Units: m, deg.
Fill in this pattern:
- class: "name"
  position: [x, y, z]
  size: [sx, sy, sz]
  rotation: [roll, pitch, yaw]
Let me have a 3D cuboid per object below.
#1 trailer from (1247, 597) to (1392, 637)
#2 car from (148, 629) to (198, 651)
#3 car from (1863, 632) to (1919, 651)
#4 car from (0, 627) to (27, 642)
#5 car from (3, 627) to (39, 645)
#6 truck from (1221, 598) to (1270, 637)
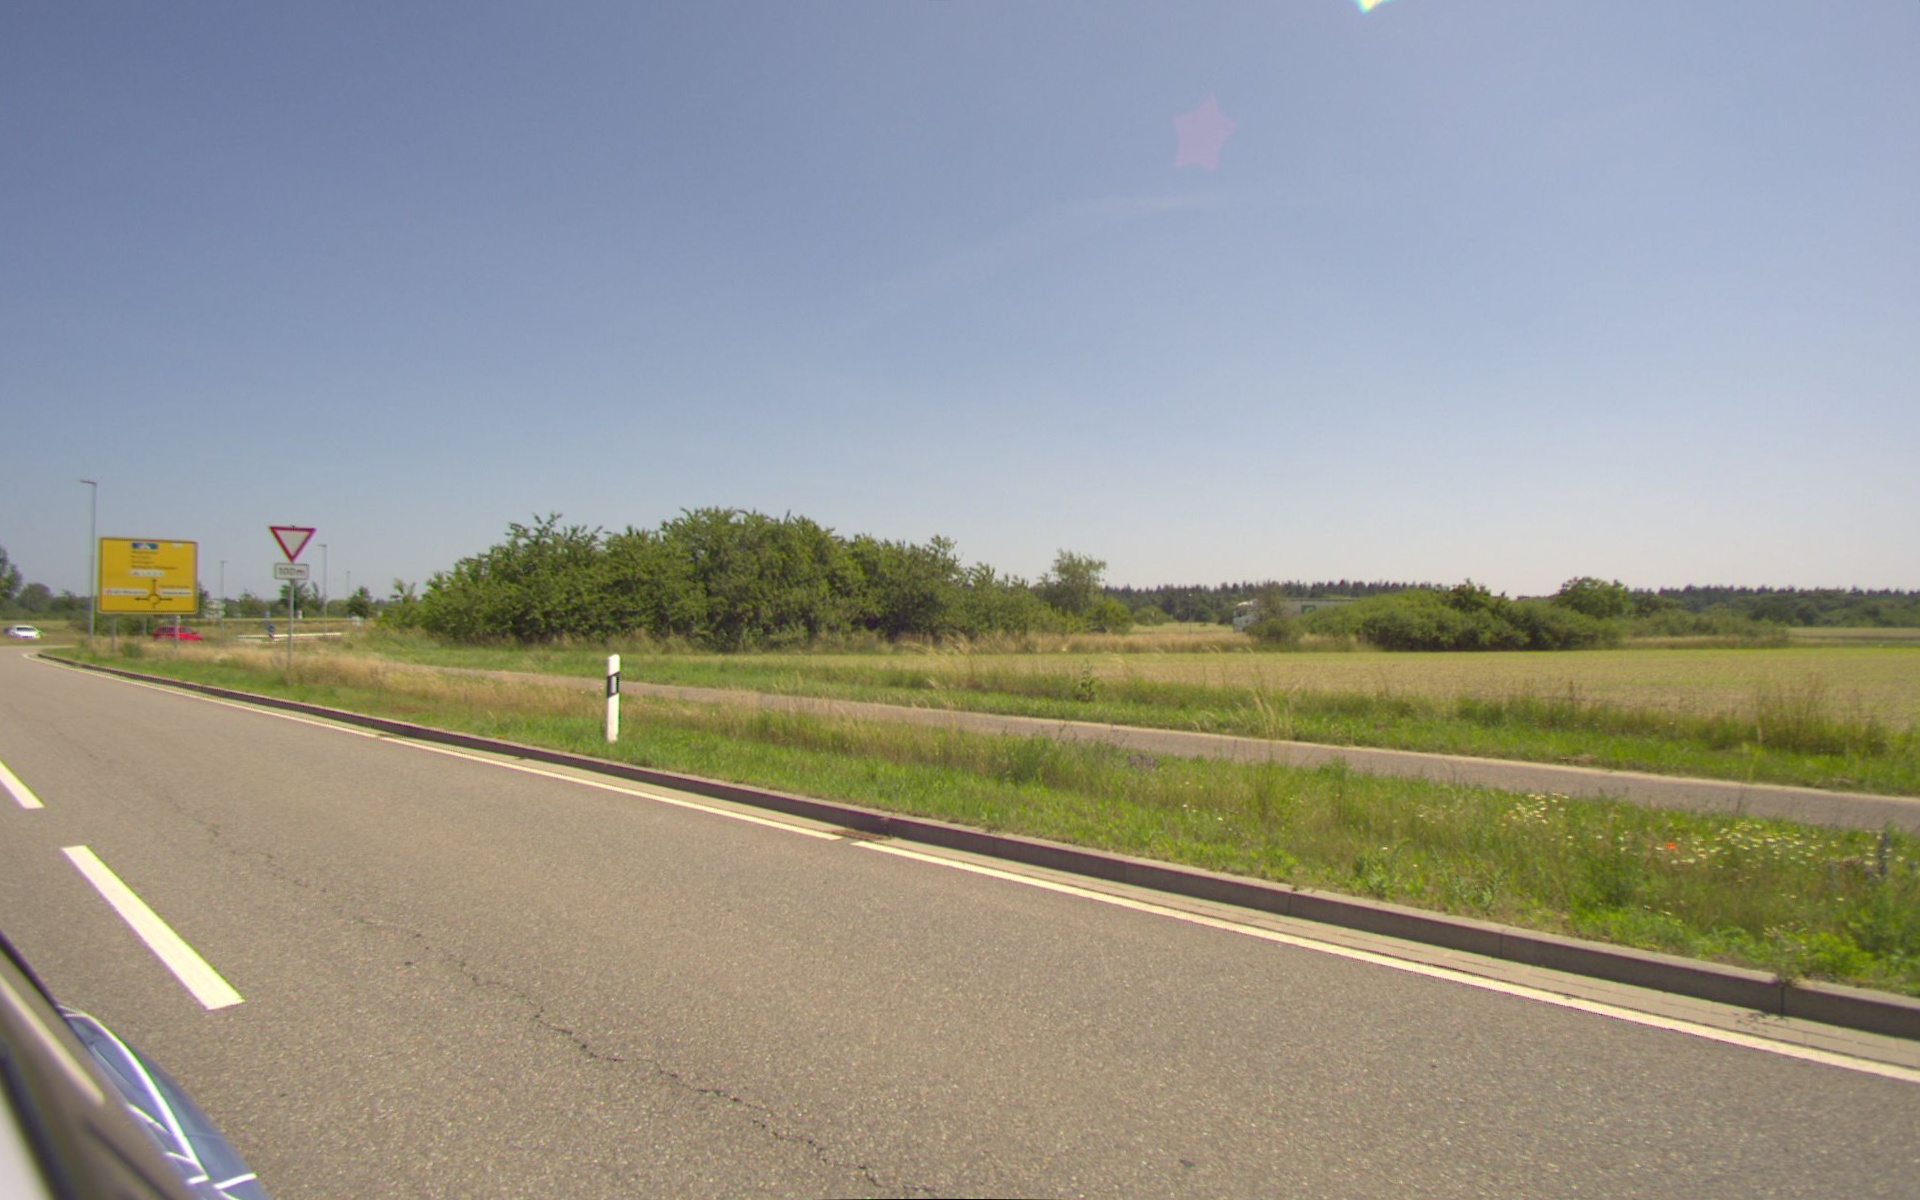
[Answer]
- class: "trailer"
  position: [36.784, 1.797, 104.053]
  size: [13.740, 3.964, 2.633]
  rotation: [0, -2, 13]
- class: "car"
  position: [-55.793, 2.829, 71.824]
  size: [1.632, 1.444, 3.747]
  rotation: [2, -2, -18]
- class: "car"
  position: [85.280, 3.777, 92.137]
  size: [4.166, 1.641, 1.795]
  rotation: [0, -2, 14]
- class: "car"
  position: [-85.612, 3.102, 90.959]
  size: [3.991, 1.321, 1.727]
  rotation: [-1, -2, 35]
- class: "car"
  position: [-78.303, 2.957, 84.366]
  size: [3.996, 1.438, 1.724]
  rotation: [-1, -2, 40]
- class: "truck"
  position: [29.780, 1.852, 105.706]
  size: [4.730, 3.964, 2.633]
  rotation: [0, -2, 13]
